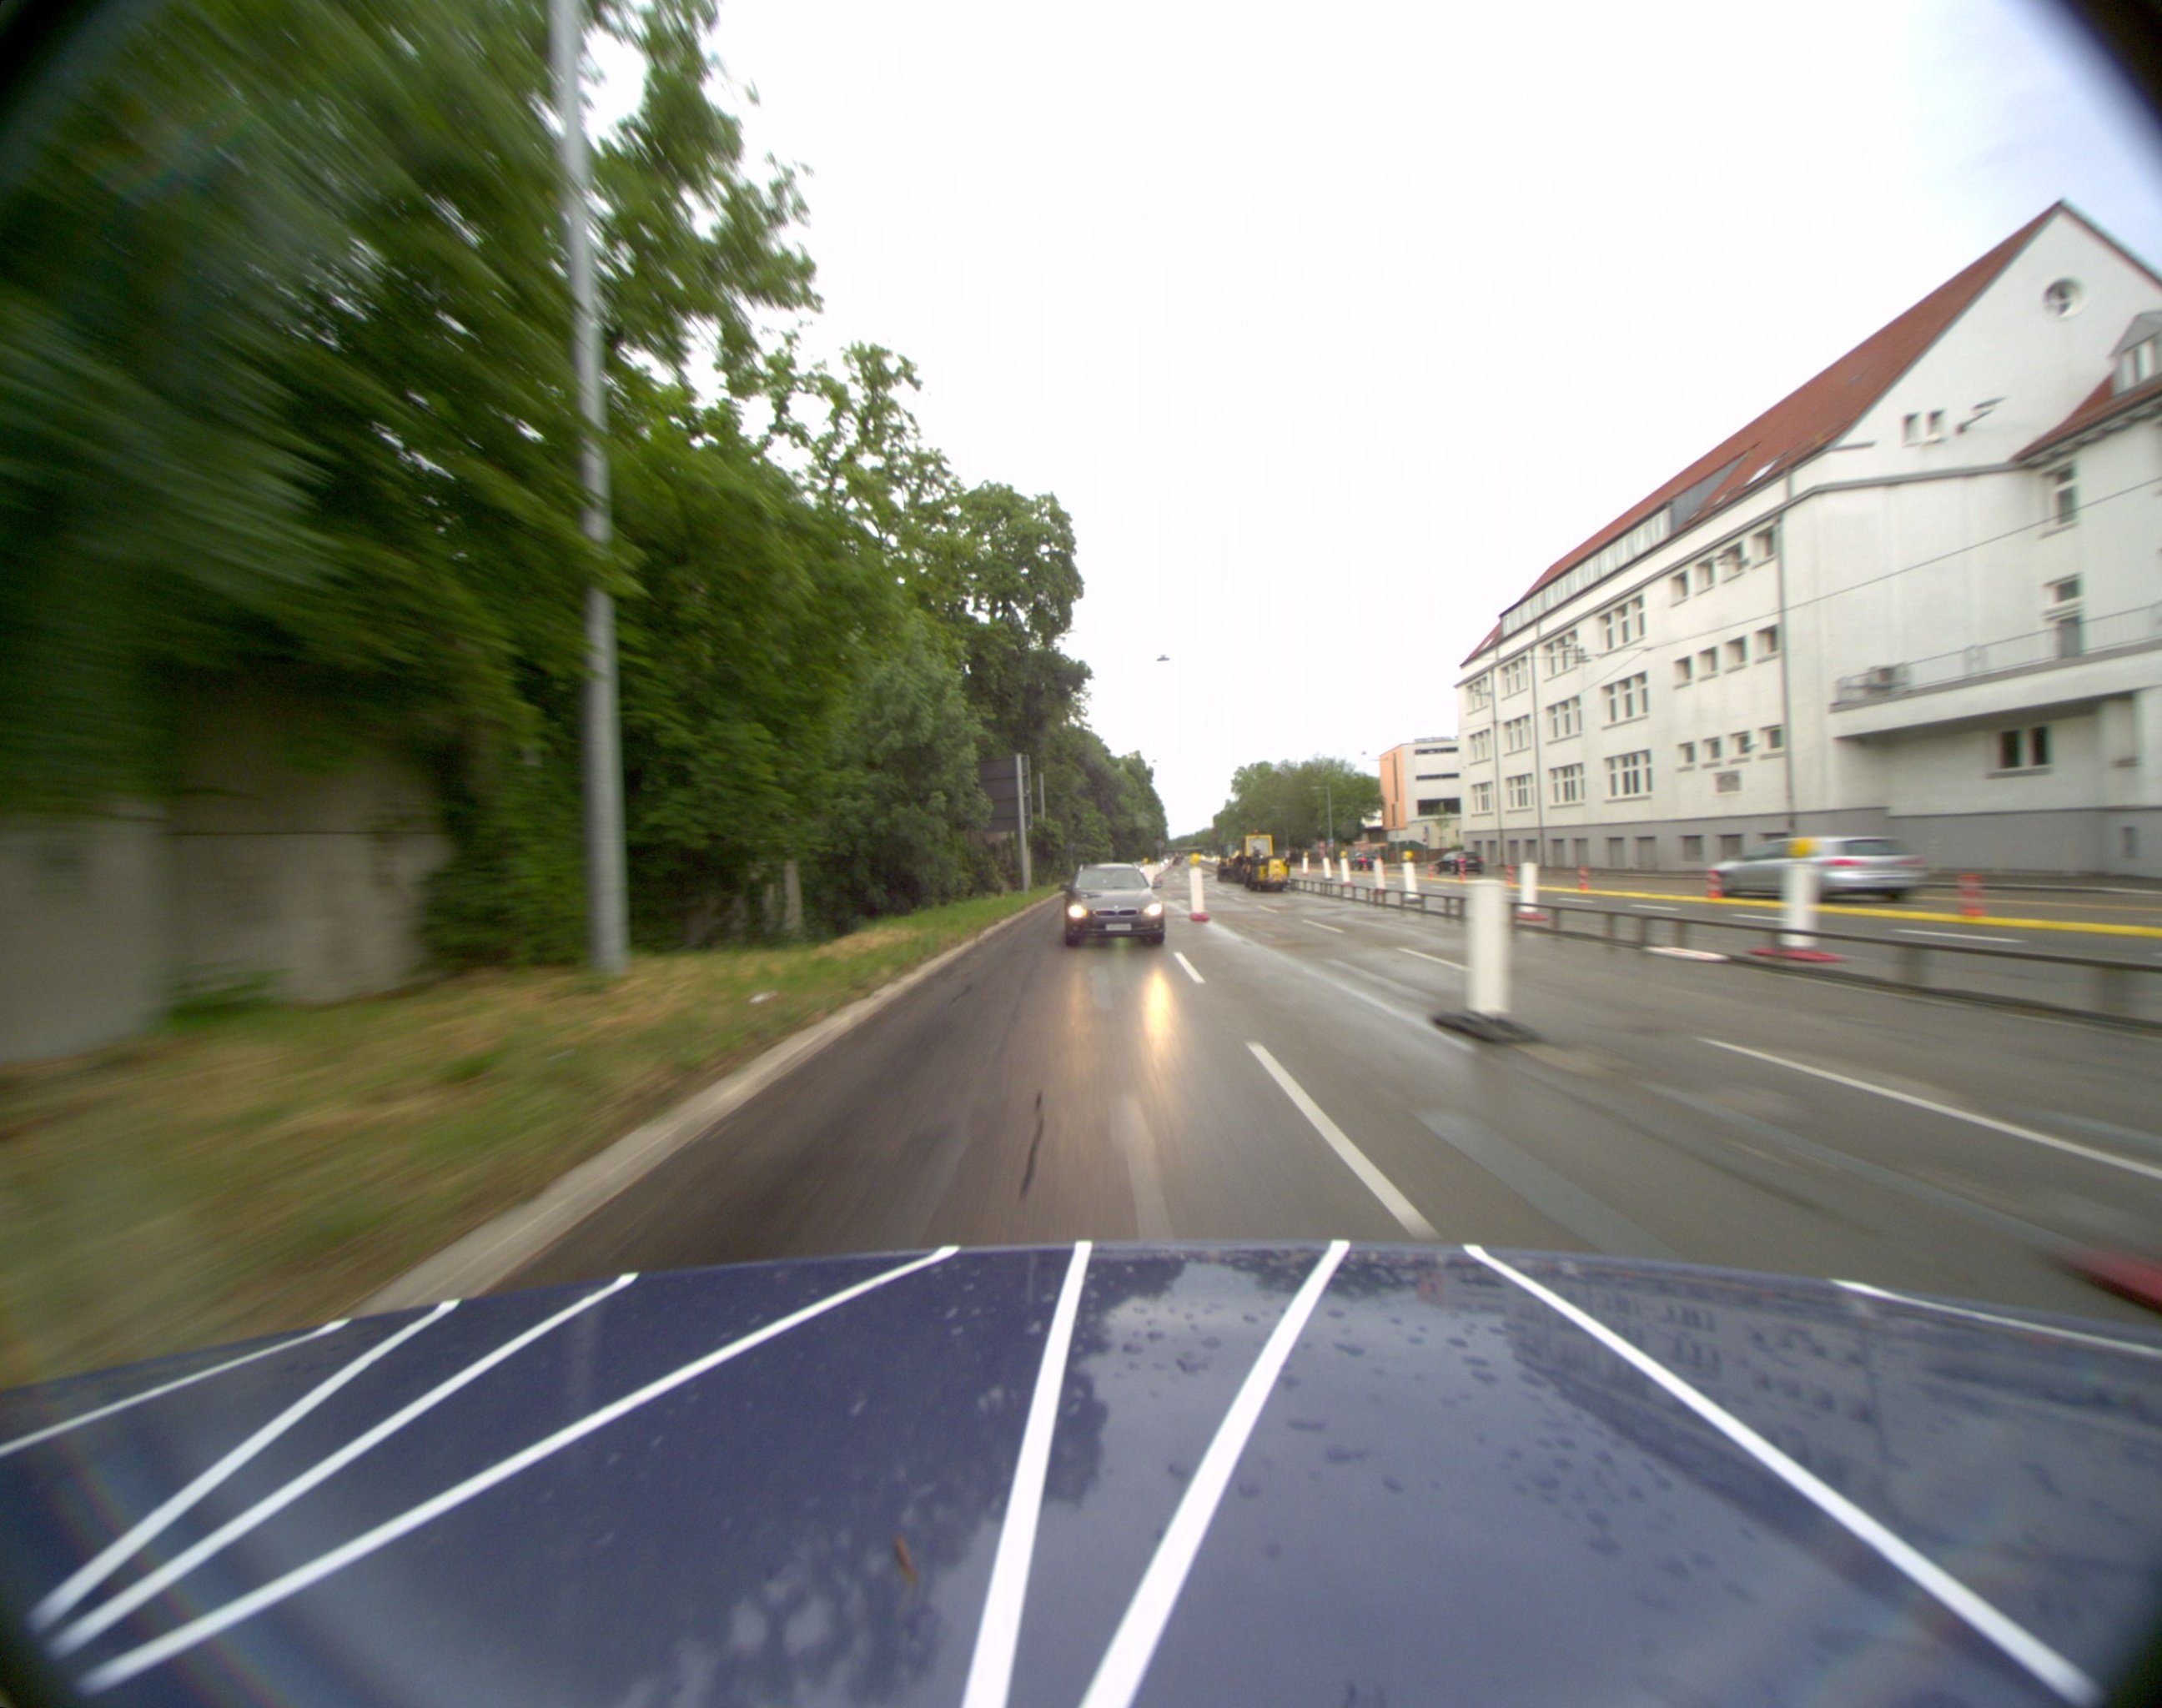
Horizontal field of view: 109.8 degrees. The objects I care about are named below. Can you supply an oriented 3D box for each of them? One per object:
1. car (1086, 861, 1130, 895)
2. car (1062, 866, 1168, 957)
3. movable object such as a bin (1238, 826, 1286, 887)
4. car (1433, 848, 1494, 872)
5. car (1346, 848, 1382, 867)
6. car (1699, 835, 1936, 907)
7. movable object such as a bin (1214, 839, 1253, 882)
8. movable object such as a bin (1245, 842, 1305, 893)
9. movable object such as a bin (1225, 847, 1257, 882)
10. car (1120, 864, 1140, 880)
[{"bbox_3d":[1.360,1.135,36.855,1.839,1.424,4.274,-2,1,5],"label":"car"},{"bbox_3d":[0.524,1.003,14.912,1.764,1.441,4.177,-1,0,-2],"label":"car"},{"bbox_3d":[9.191,0.150,38.788,1.826,2.895,3.609,-1,0,5],"label":"movable object such as a bin"},{"bbox_3d":[23.619,0.351,47.102,1.862,1.373,4.000,-1,0,2],"label":"car"},{"bbox_3d":[25.766,0.313,69.300,1.998,1.575,4.212,-2,0,6],"label":"car"},{"bbox_3d":[16.741,0.357,17.613,1.704,1.456,4.119,-1,0,4],"label":"car"},{"bbox_3d":[10.541,0.452,52.811,2.126,2.821,4.480,-2,0,5],"label":"movable object such as a bin"},{"bbox_3d":[8.752,0.587,34.596,1.998,2.099,3.851,-2,0,5],"label":"movable object such as a bin"},{"bbox_3d":[9.953,0.649,47.454,1.399,2.032,4.087,-2,0,5],"label":"movable object such as a bin"},{"bbox_3d":[5.816,2.182,91.380,1.999,1.740,3.999,-2,1,-1],"label":"car"}]
